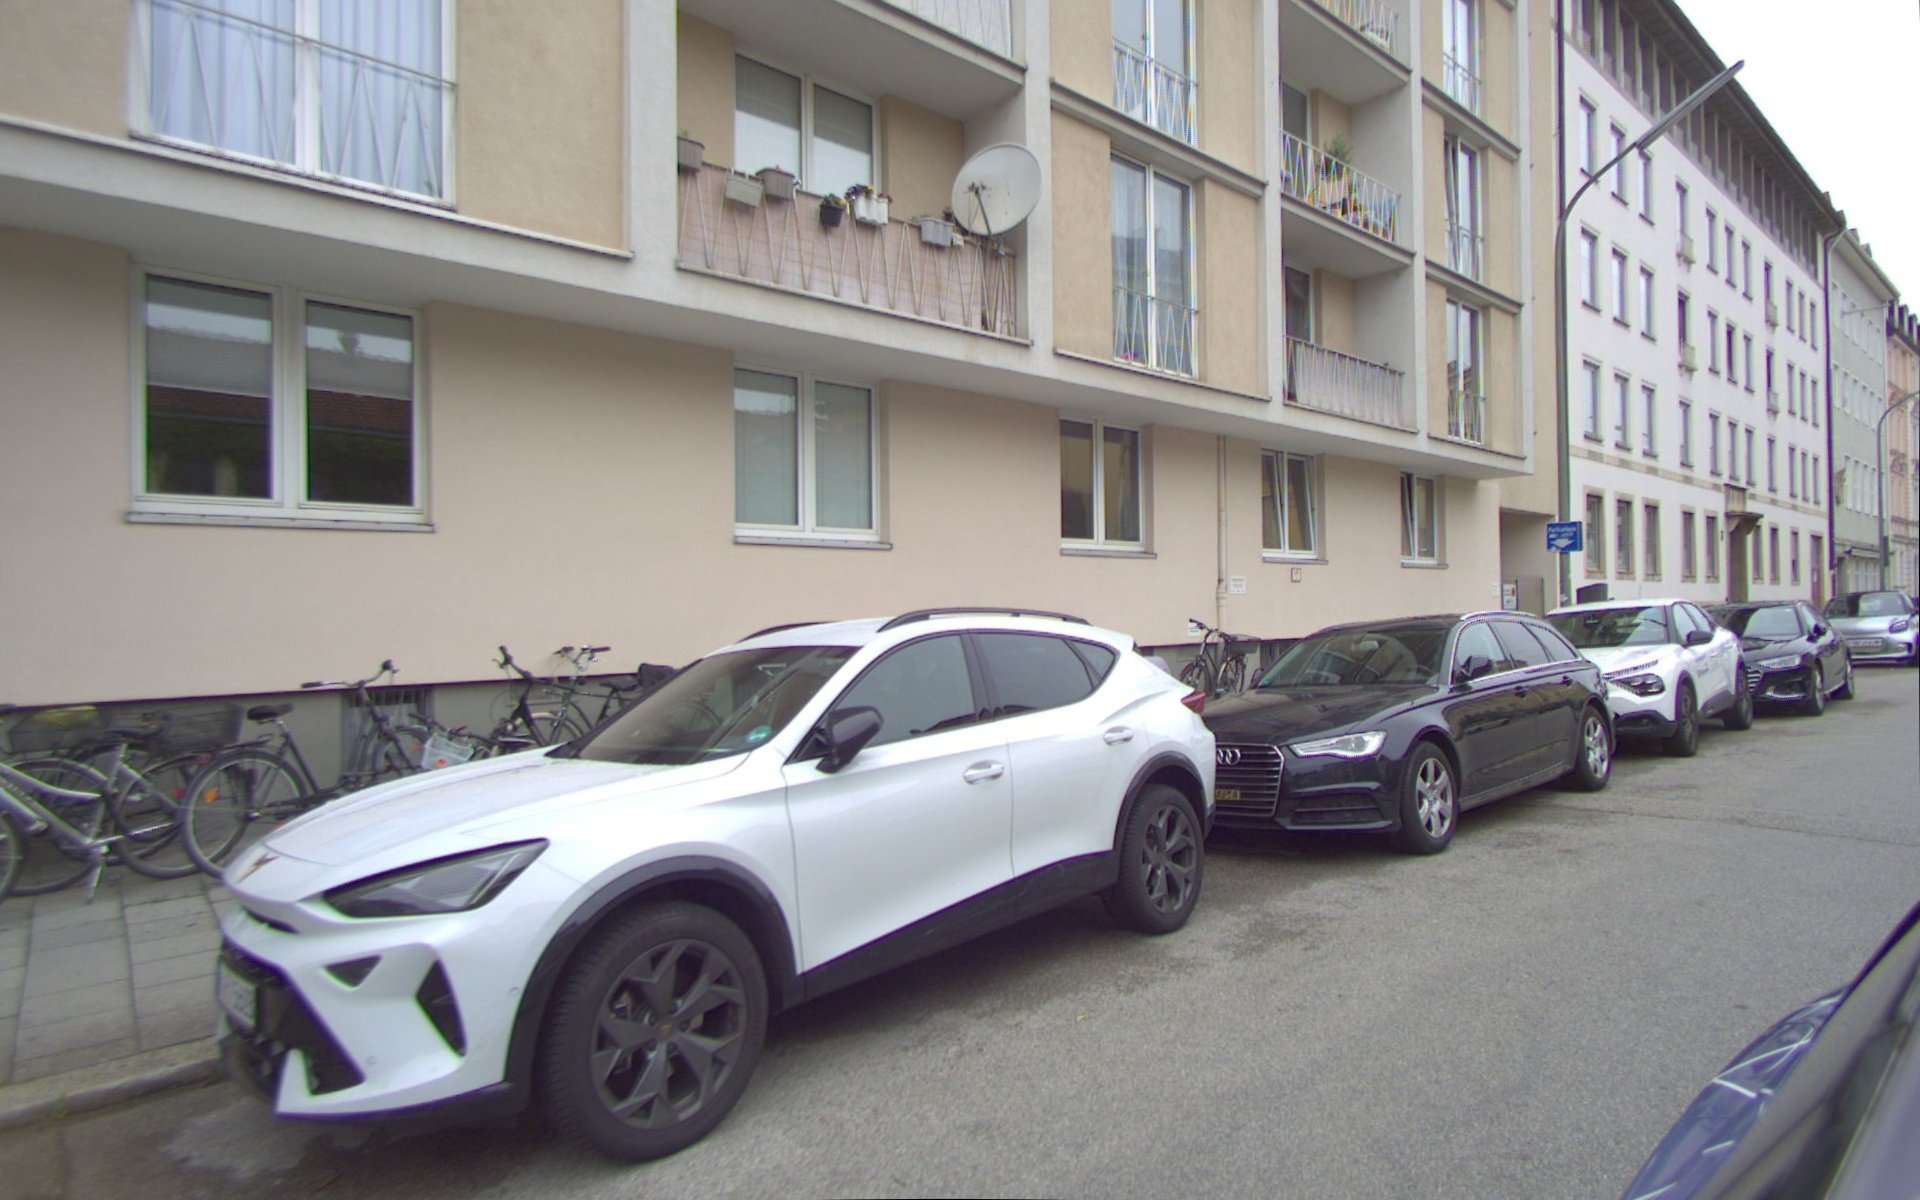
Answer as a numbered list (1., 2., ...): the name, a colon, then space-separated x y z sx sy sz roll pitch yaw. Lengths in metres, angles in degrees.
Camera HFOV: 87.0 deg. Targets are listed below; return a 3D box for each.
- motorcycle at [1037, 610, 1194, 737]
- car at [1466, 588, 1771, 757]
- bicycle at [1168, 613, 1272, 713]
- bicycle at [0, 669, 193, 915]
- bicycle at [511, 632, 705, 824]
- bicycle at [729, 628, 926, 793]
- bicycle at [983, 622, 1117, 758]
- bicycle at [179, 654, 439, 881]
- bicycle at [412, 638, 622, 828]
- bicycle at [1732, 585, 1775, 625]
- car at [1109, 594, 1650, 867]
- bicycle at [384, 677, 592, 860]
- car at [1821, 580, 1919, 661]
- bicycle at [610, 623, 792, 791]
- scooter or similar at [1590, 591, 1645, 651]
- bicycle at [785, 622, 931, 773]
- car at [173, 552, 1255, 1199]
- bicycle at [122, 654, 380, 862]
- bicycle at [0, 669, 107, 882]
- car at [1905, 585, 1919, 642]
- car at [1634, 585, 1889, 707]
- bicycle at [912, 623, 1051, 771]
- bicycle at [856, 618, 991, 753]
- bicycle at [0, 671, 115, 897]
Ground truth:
1. motorcycle: 1.796 0.778 11.504 2.006 1.287 0.636 -1 1 -42
2. car: 7.229 0.691 10.946 4.050 1.488 1.703 -1 -4 -42
3. bicycle: 3.359 0.773 13.012 1.573 1.171 0.514 -1 1 -42
4. bicycle: -4.778 0.978 5.169 0.391 1.114 1.326 4 4 44
5. bicycle: -2.527 0.878 7.304 1.258 1.216 0.414 -1 3 -34
6. bicycle: -1.074 0.864 8.293 1.534 1.216 0.399 0 3 -25
7. bicycle: 0.904 0.881 10.310 1.334 1.216 0.389 3 3 37
8. bicycle: -3.917 0.954 6.179 0.393 1.114 1.287 3 3 33
9. bicycle: -3.259 0.936 7.487 1.367 1.216 0.448 -1 3 -34
10. bicycle: 23.022 0.141 29.363 2.004 1.093 0.599 0 2 -42
11. car: 3.373 0.763 7.642 4.610 1.448 1.774 -1 -5 -40
12. bicycle: -2.996 1.027 6.507 0.444 0.904 1.186 3 3 28
13. car: 19.365 0.420 21.014 3.319 1.537 1.617 0 -4 -39
14. bicycle: -2.107 0.834 8.295 1.367 1.216 0.448 -1 3 -34
15. scooter or similar: 14.402 0.446 22.155 1.076 1.291 0.730 0 -1 -40
16. bicycle: -0.906 0.843 9.128 1.261 1.216 0.418 -1 3 -37
17. car: -0.599 0.740 4.373 1.774 1.543 4.236 -6 -5 43
18. bicycle: -4.496 0.957 6.475 1.323 1.114 0.370 -1 4 -40
19. bicycle: -5.571 0.995 5.569 1.323 1.114 0.370 -1 4 -40
20. car: 26.875 0.334 27.074 4.619 1.466 1.875 0 -2 -42
21. car: 11.003 0.571 13.782 4.411 1.399 1.830 0 -3 -40
22. bicycle: 0.220 0.863 9.478 1.348 1.216 0.447 -2 4 -43
23. bicycle: -0.350 0.812 10.045 1.317 1.216 0.394 -1 3 -36
24. bicycle: -5.298 0.992 5.271 1.363 1.114 0.370 -1 4 -40
